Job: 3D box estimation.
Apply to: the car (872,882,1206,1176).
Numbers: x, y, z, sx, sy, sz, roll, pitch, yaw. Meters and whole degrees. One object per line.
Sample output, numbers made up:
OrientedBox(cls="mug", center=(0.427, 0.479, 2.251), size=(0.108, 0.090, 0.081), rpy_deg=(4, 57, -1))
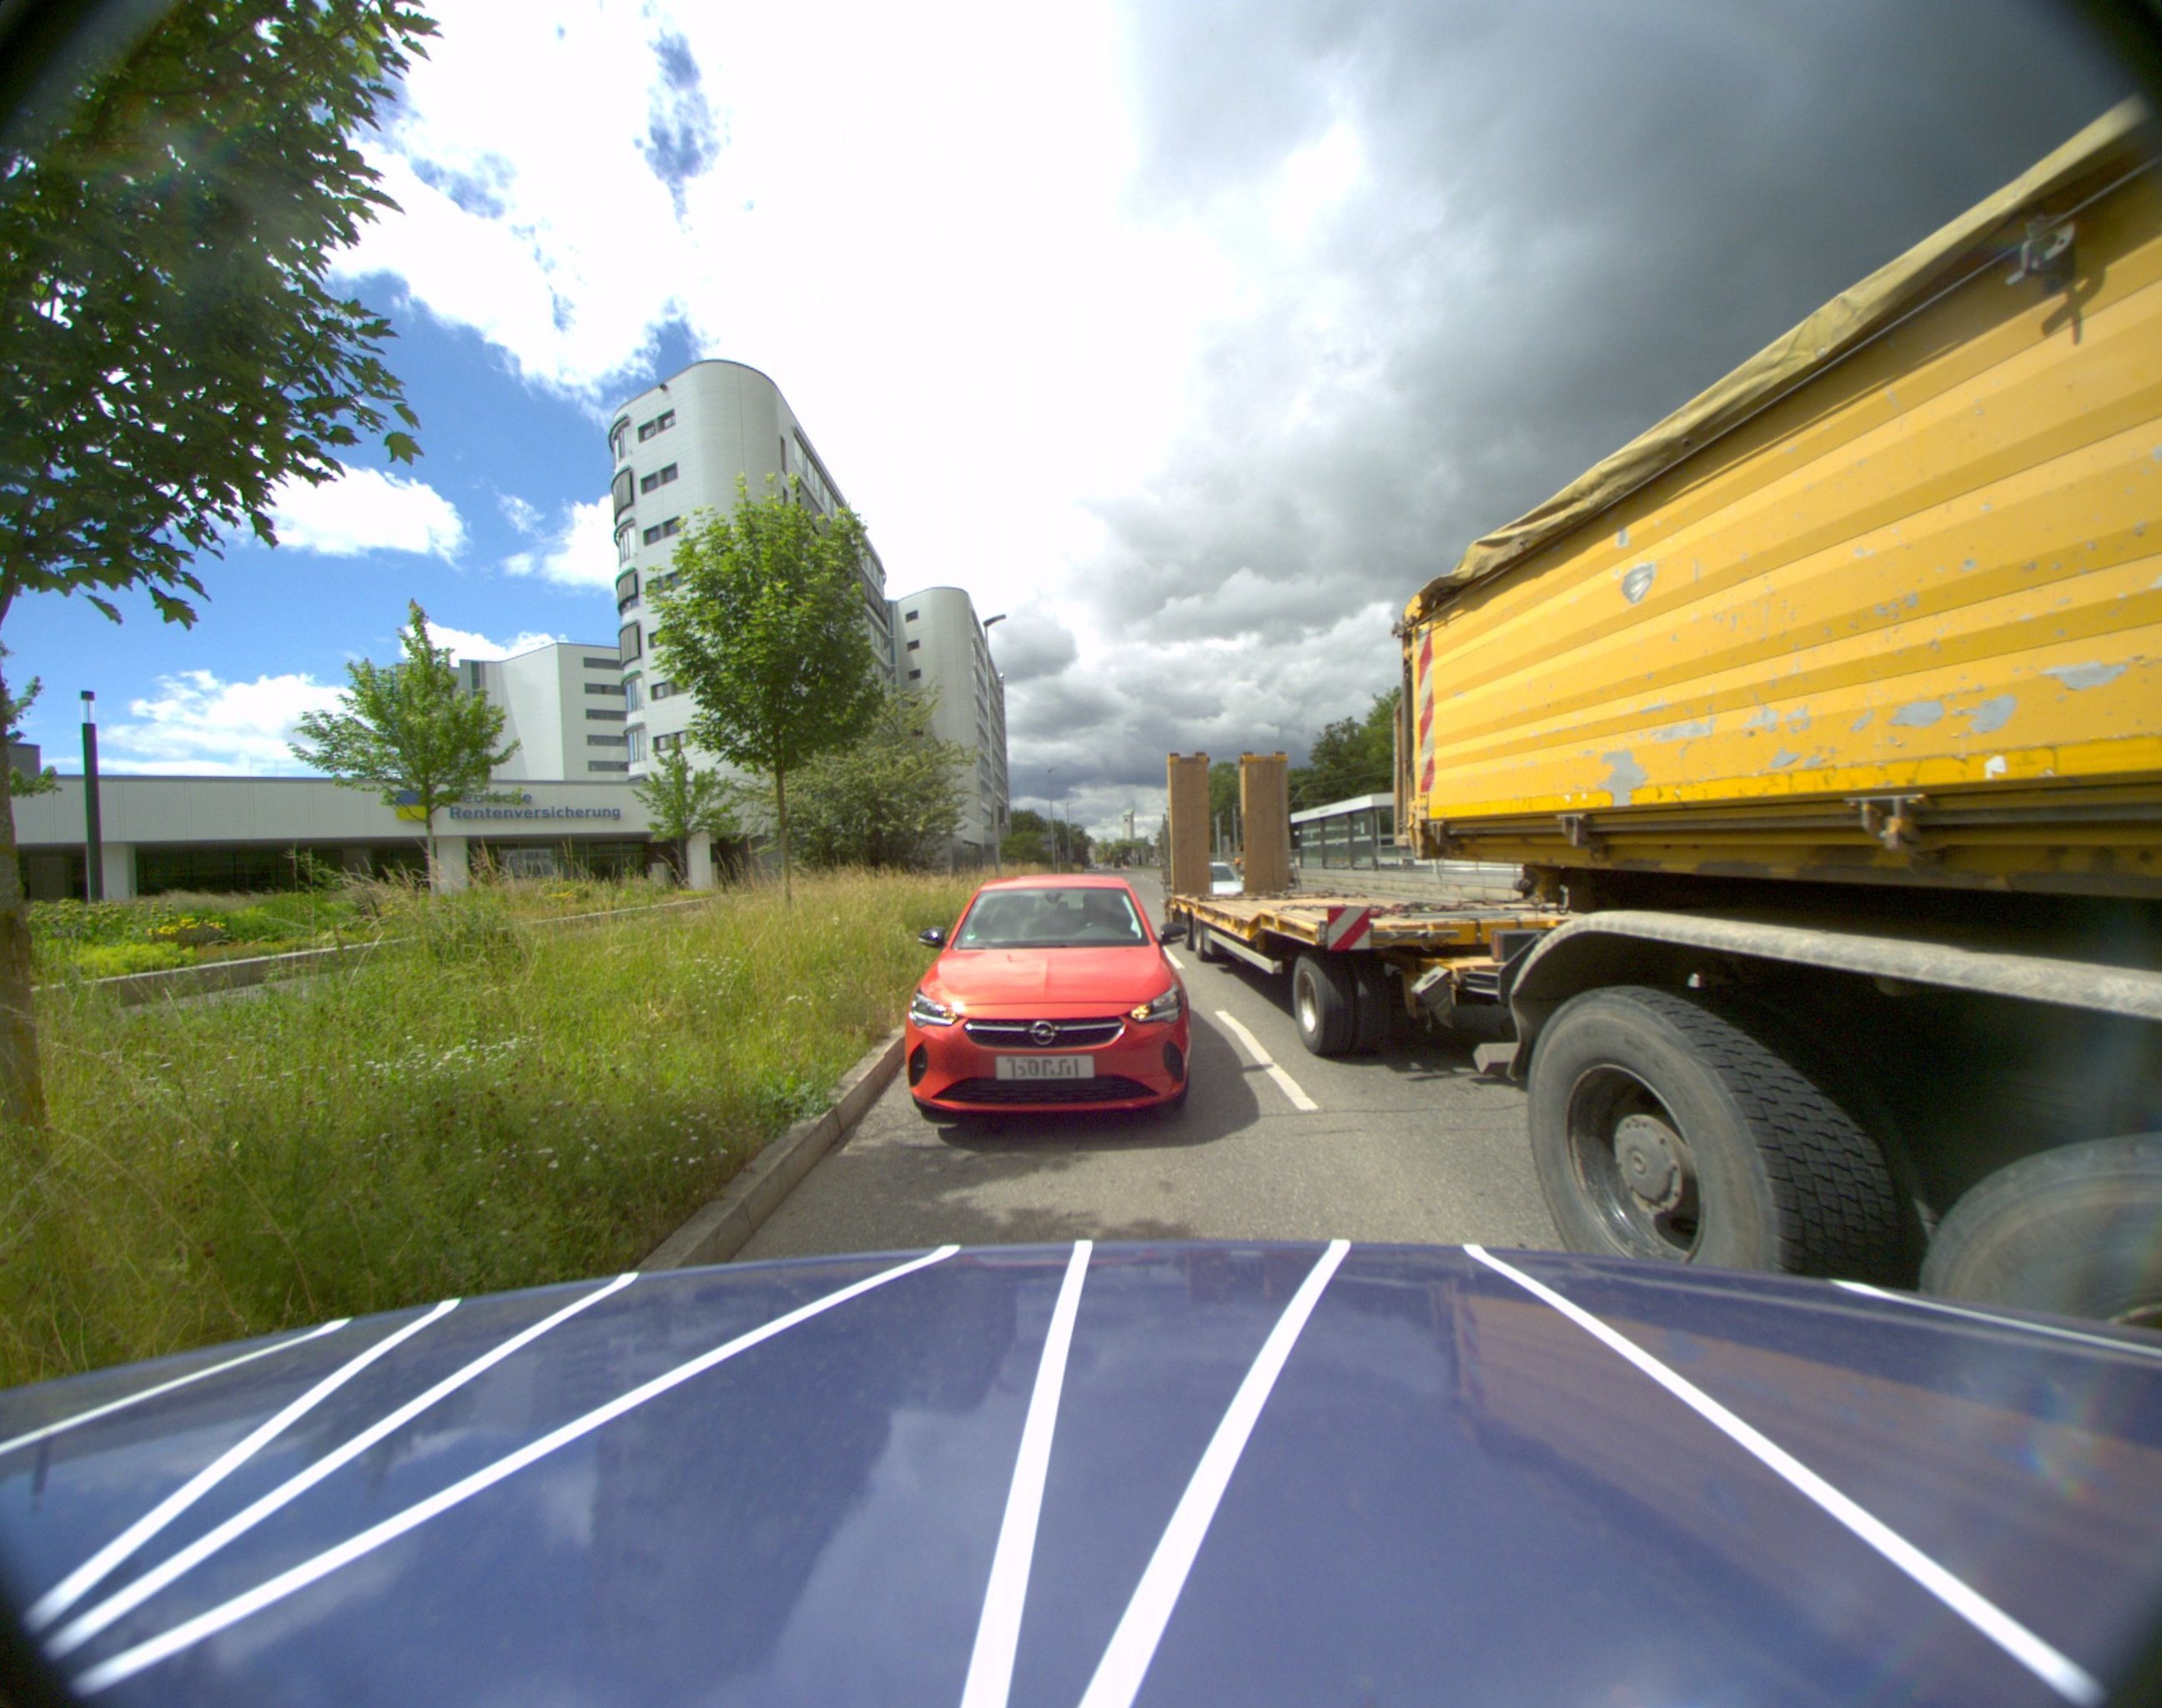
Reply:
OrientedBox(cls="car", center=(-0.191, 0.996, 5.851), size=(1.749, 1.408, 3.676), rpy_deg=(-1, 0, 1))

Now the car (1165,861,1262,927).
OrientedBox(cls="car", center=(3.188, 0.922, 19.018), size=(1.784, 1.408, 3.785), rpy_deg=(-2, 0, 1))

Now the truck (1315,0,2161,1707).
OrientedBox(cls="truck", center=(2.876, -0.053, 0.120), size=(3.057, 3.374, 8.006), rpy_deg=(-2, 0, 0))

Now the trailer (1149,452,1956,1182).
OrientedBox(cls="trailer", center=(2.950, -0.166, 9.421), size=(3.057, 3.676, 10.965), rpy_deg=(-2, 0, 0))
